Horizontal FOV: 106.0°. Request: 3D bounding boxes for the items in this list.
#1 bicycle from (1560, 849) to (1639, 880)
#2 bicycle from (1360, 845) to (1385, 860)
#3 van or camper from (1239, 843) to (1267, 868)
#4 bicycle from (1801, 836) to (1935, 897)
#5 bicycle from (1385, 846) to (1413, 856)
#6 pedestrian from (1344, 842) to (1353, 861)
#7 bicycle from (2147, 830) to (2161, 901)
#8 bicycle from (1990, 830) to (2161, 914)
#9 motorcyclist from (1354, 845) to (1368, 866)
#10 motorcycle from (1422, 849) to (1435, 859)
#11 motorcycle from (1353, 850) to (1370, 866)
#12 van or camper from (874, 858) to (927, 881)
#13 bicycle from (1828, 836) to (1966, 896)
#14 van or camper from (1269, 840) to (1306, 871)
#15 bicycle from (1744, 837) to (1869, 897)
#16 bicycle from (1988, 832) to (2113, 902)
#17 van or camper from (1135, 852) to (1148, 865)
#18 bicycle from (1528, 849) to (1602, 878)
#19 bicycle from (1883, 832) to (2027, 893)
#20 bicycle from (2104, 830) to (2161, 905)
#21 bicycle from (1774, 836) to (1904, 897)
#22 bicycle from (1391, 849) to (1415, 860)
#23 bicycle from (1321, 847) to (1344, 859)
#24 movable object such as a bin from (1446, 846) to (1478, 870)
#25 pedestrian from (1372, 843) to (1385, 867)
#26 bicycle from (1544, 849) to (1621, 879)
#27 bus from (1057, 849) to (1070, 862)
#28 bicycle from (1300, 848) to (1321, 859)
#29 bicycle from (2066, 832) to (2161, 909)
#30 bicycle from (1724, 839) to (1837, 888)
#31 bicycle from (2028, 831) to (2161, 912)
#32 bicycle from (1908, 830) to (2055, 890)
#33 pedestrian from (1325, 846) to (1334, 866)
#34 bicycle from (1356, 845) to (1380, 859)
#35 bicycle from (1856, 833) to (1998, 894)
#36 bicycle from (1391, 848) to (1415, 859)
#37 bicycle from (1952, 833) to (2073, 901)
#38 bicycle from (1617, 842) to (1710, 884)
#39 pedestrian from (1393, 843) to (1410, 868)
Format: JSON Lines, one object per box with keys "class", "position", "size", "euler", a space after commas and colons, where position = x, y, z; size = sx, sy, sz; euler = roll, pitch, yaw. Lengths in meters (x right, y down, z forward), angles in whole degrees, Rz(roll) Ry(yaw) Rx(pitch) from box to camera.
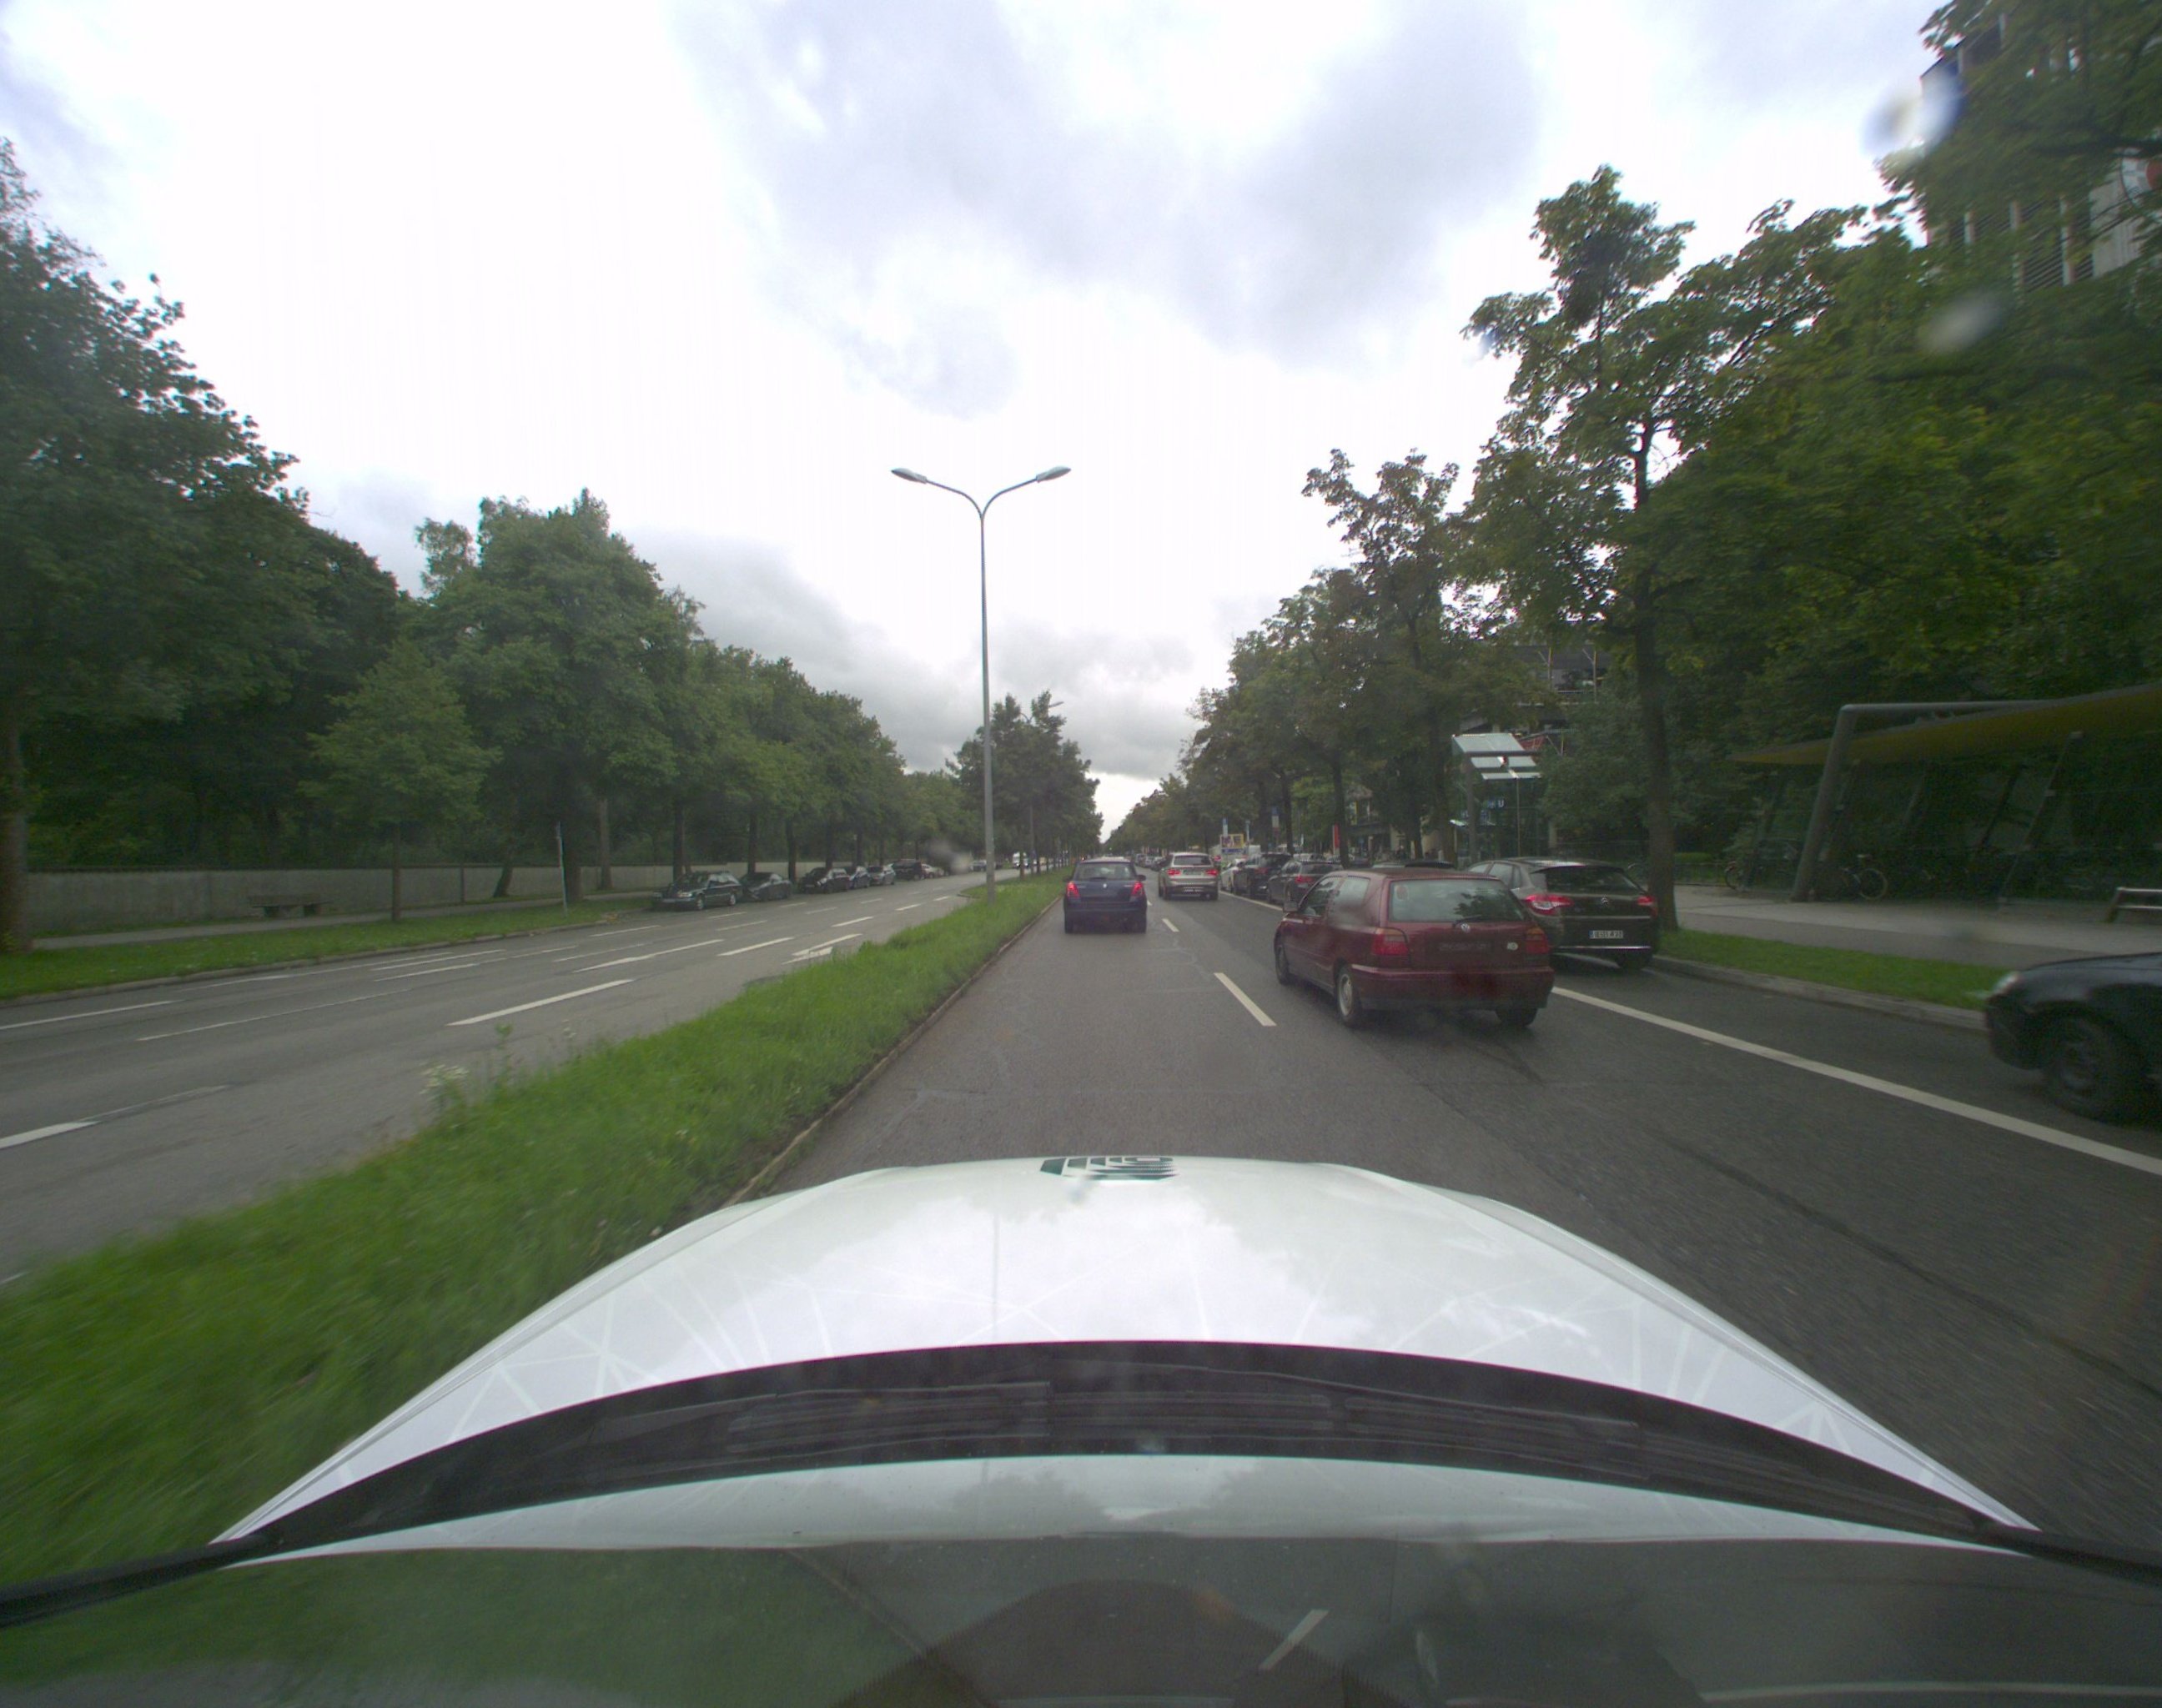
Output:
{"class": "bicycle", "position": [19.294, 0.396, 30.331], "size": [2.533, 1.089, 0.647], "euler": [-1, 0, 1]}
{"class": "bicycle", "position": [31.302, -0.178, 87.551], "size": [2.619, 1.508, 0.793], "euler": [-1, 0, -21]}
{"class": "van or camper", "position": [18.949, 0.152, 90.033], "size": [2.016, 2.558, 5.959], "euler": [-2, 0, 2]}
{"class": "bicycle", "position": [18.027, 0.270, 18.768], "size": [0.643, 1.280, 2.551], "euler": [-1, 0, 2]}
{"class": "bicycle", "position": [30.421, -0.290, 77.910], "size": [0.776, 0.870, 2.373], "euler": [-1, 0, -45]}
{"class": "pedestrian", "position": [24.773, -0.251, 75.462], "size": [0.572, 1.751, 0.733], "euler": [-1, -1, 6]}
{"class": "bicycle", "position": [19.538, 0.194, 13.418], "size": [0.643, 1.280, 2.551], "euler": [-1, 0, 2]}
{"class": "bicycle", "position": [16.778, 0.274, 13.475], "size": [0.643, 1.280, 2.551], "euler": [-1, 0, 2]}
{"class": "motorcyclist", "position": [23.652, 0.120, 68.763], "size": [0.688, 1.737, 0.953], "euler": [-6, -1, 1]}
{"class": "motorcycle", "position": [33.786, -0.002, 79.190], "size": [0.847, 0.865, 1.572], "euler": [-1, 0, 9]}
{"class": "motorcycle", "position": [23.691, 0.351, 68.869], "size": [0.693, 1.290, 2.067], "euler": [-6, 0, 1]}
{"class": "van or camper", "position": [-15.614, 1.308, 70.498], "size": [4.146, 1.854, 1.829], "euler": [-1, 0, -39]}
{"class": "bicycle", "position": [18.696, 0.264, 18.771], "size": [0.643, 1.280, 2.551], "euler": [-1, 0, 2]}
{"class": "van or camper", "position": [18.543, 0.139, 73.441], "size": [1.986, 2.558, 5.959], "euler": [-2, 0, 2]}
{"class": "bicycle", "position": [16.637, 0.289, 18.793], "size": [0.643, 1.280, 2.551], "euler": [-1, 0, 2]}
{"class": "bicycle", "position": [18.996, 0.238, 15.953], "size": [2.545, 1.280, 0.490], "euler": [-1, -1, -14]}
{"class": "van or camper", "position": [9.915, 0.740, 133.778], "size": [1.937, 1.975, 4.308], "euler": [-1, 0, 2]}
{"class": "bicycle", "position": [19.380, 0.397, 32.620], "size": [2.533, 1.089, 0.647], "euler": [-1, 0, 1]}
{"class": "bicycle", "position": [20.003, 0.185, 18.753], "size": [0.602, 1.280, 2.551], "euler": [-1, 0, 2]}
{"class": "bicycle", "position": [18.774, 0.224, 13.418], "size": [0.643, 1.280, 2.551], "euler": [-1, 0, 2]}
{"class": "bicycle", "position": [17.353, 0.271, 18.755], "size": [0.643, 1.280, 2.551], "euler": [-1, 0, 2]}
{"class": "bicycle", "position": [30.249, 0.040, 76.516], "size": [0.751, 0.958, 2.022], "euler": [-1, 0, -45]}
{"class": "bicycle", "position": [32.257, -0.152, 104.504], "size": [2.605, 1.508, 0.797], "euler": [-2, 0, -5]}
{"class": "movable object such as a bin", "position": [23.168, 0.270, 49.533], "size": [1.332, 1.409, 1.314], "euler": [-1, 0, 0]}
{"class": "pedestrian", "position": [22.505, 0.070, 61.547], "size": [0.536, 1.721, 0.988], "euler": [-3, -1, 2]}
{"class": "bicycle", "position": [19.320, 0.398, 31.401], "size": [2.533, 1.089, 0.647], "euler": [-1, 0, 1]}
{"class": "bus", "position": [-4.968, 0.450, 227.766], "size": [2.727, 3.377, 12.019], "euler": [-3, 0, 2]}
{"class": "bicycle", "position": [31.911, -0.098, 113.359], "size": [2.605, 1.508, 0.797], "euler": [-2, 0, -5]}
{"class": "bicycle", "position": [18.154, 0.265, 13.483], "size": [0.643, 1.280, 2.551], "euler": [-1, 0, 2]}
{"class": "bicycle", "position": [19.353, 0.259, 22.562], "size": [2.533, 1.280, 0.647], "euler": [-1, -1, 1]}
{"class": "bicycle", "position": [17.445, 0.270, 13.465], "size": [0.643, 1.280, 2.551], "euler": [-1, 0, 2]}
{"class": "bicycle", "position": [20.626, 0.135, 18.763], "size": [0.602, 1.280, 2.551], "euler": [-1, 0, 2]}
{"class": "pedestrian", "position": [22.112, 0.164, 72.434], "size": [0.572, 1.751, 0.733], "euler": [-1, -1, 6]}
{"class": "bicycle", "position": [31.224, -0.242, 88.618], "size": [2.619, 1.508, 0.793], "euler": [-1, 0, -21]}
{"class": "bicycle", "position": [19.359, 0.207, 18.742], "size": [0.643, 1.280, 2.551], "euler": [-1, 0, 2]}
{"class": "bicycle", "position": [31.164, -0.052, 78.926], "size": [2.021, 0.958, 0.751], "euler": [-2, 0, 38]}
{"class": "bicycle", "position": [18.879, 0.254, 16.504], "size": [2.545, 1.280, 0.490], "euler": [-1, -1, -14]}
{"class": "bicycle", "position": [19.051, 0.287, 26.667], "size": [2.533, 1.280, 0.647], "euler": [-1, -1, 1]}
{"class": "pedestrian", "position": [23.536, 0.106, 59.845], "size": [0.825, 1.721, 0.940], "euler": [-3, -1, 1]}
